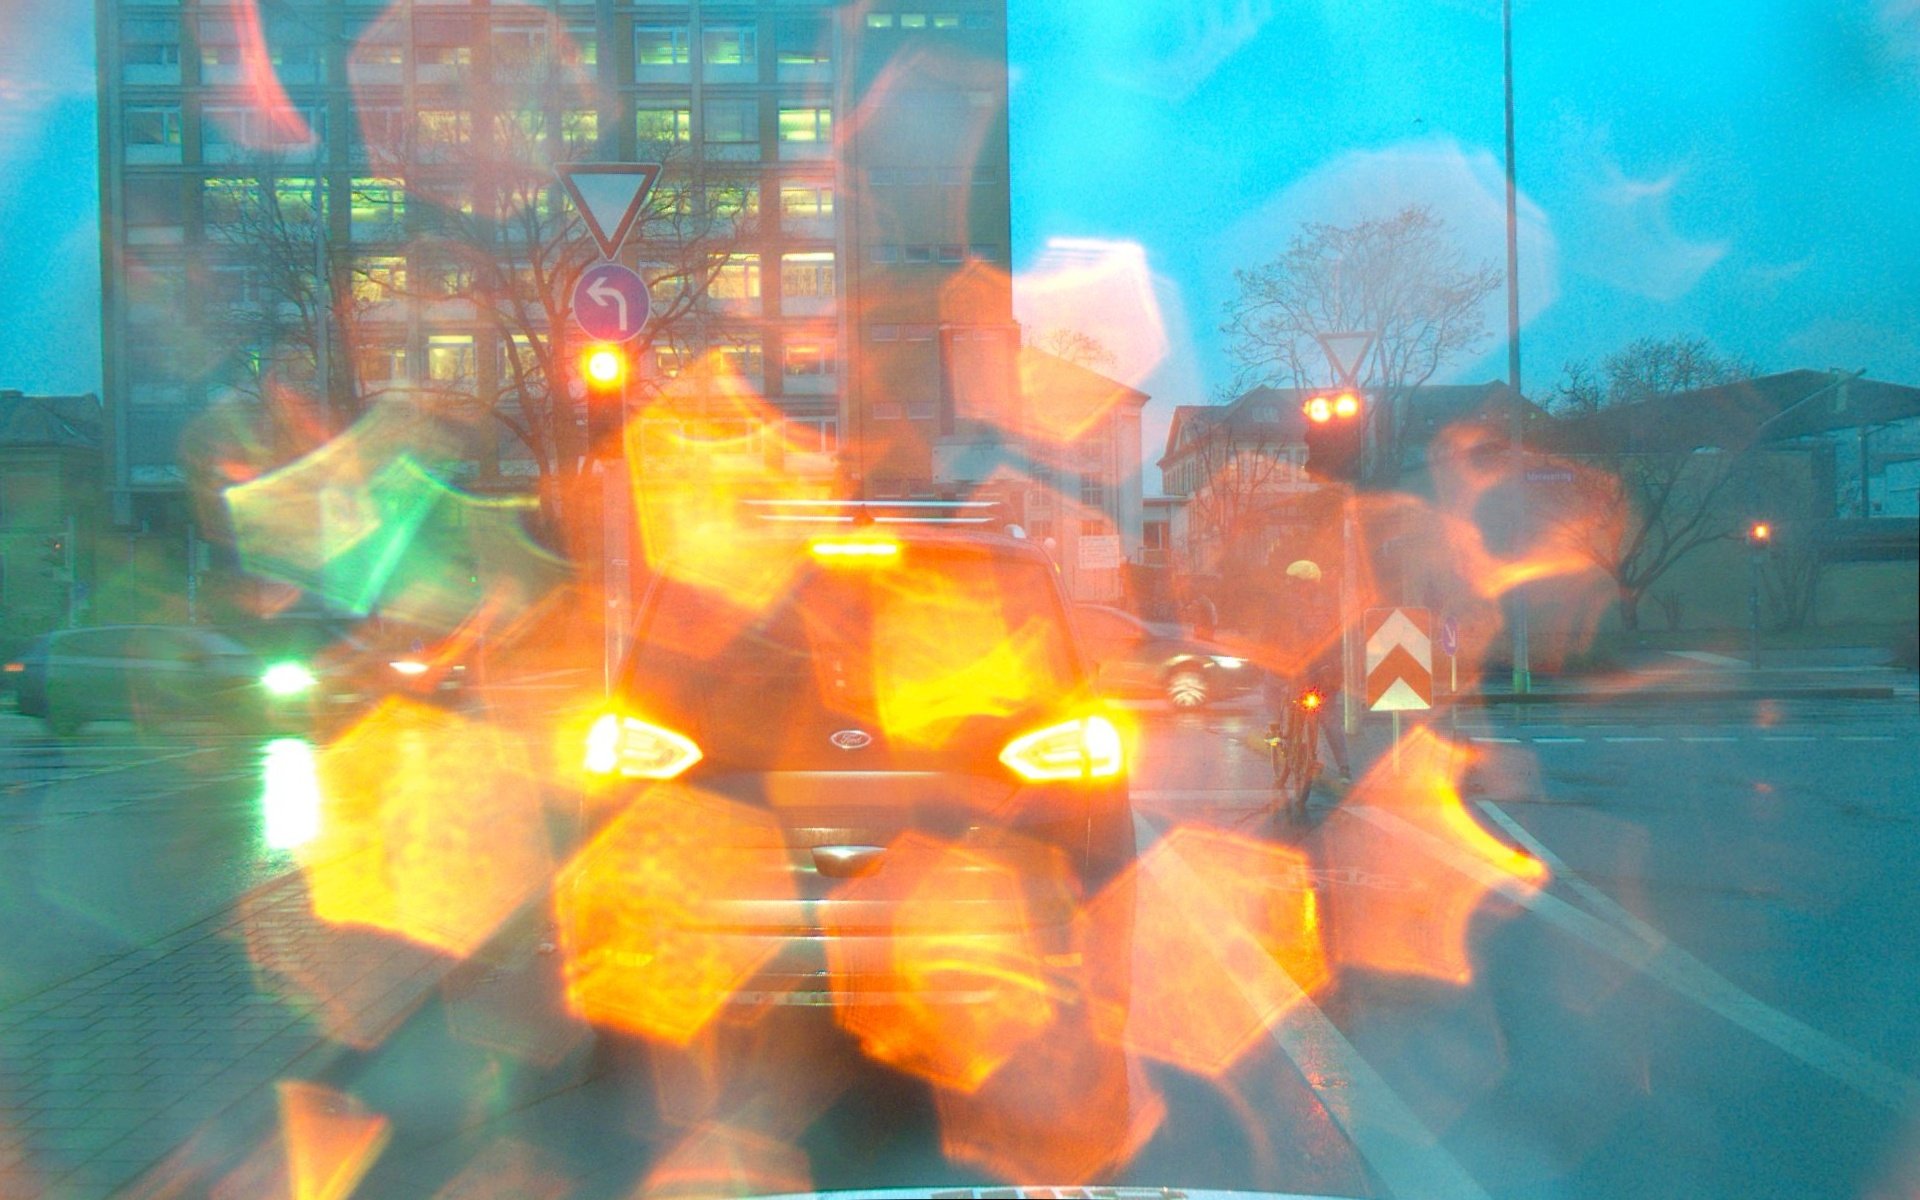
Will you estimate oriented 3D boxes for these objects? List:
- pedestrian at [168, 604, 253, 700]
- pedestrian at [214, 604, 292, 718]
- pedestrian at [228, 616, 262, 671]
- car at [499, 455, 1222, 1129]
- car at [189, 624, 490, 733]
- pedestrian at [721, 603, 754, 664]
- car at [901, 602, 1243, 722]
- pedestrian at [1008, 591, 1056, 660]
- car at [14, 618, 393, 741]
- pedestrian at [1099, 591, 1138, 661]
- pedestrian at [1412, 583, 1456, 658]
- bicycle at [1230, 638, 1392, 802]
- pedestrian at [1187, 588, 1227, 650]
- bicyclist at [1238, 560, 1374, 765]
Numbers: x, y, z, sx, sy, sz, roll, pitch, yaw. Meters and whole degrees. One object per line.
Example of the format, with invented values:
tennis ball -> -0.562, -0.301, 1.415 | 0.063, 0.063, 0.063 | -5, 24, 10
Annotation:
pedestrian -> -15.475, 1.064, 34.183 | 0.980, 1.874, 1.140 | -2, 2, 18
pedestrian -> -13.043, 1.110, 30.524 | 0.908, 2.013, 0.960 | -2, 0, 5
pedestrian -> -22.154, 1.340, 51.246 | 0.743, 1.656, 0.558 | -2, 0, 14
car -> -0.295, 0.539, 6.537 | 1.953, 1.821, 3.999 | 1, 0, -1
car -> -9.333, 1.167, 25.005 | 3.870, 1.503, 1.813 | -2, -1, 11
pedestrian -> -6.191, 0.925, 46.082 | 0.744, 1.656, 0.722 | -2, 0, 3
car -> 1.590, 0.847, 22.910 | 4.480, 1.503, 1.813 | -2, -1, 12
pedestrian -> 1.906, 0.659, 43.753 | 1.111, 1.750, 0.982 | -2, 0, 10
car -> -10.184, 1.059, 22.360 | 4.480, 1.503, 1.812 | -2, -1, 14
pedestrian -> 4.293, 0.689, 44.785 | 0.975, 1.831, 0.920 | -2, 0, 8
pedestrian -> 13.977, 0.588, 48.764 | 0.869, 2.150, 0.892 | -2, 0, -17
bicycle -> 2.607, 0.859, 12.499 | 0.767, 1.094, 1.956 | 1, 0, -1
pedestrian -> 6.431, 0.477, 43.138 | 0.905, 1.559, 1.043 | -2, 0, 4
bicyclist -> 2.603, 0.455, 12.546 | 0.767, 1.478, 1.133 | 1, 0, -1
